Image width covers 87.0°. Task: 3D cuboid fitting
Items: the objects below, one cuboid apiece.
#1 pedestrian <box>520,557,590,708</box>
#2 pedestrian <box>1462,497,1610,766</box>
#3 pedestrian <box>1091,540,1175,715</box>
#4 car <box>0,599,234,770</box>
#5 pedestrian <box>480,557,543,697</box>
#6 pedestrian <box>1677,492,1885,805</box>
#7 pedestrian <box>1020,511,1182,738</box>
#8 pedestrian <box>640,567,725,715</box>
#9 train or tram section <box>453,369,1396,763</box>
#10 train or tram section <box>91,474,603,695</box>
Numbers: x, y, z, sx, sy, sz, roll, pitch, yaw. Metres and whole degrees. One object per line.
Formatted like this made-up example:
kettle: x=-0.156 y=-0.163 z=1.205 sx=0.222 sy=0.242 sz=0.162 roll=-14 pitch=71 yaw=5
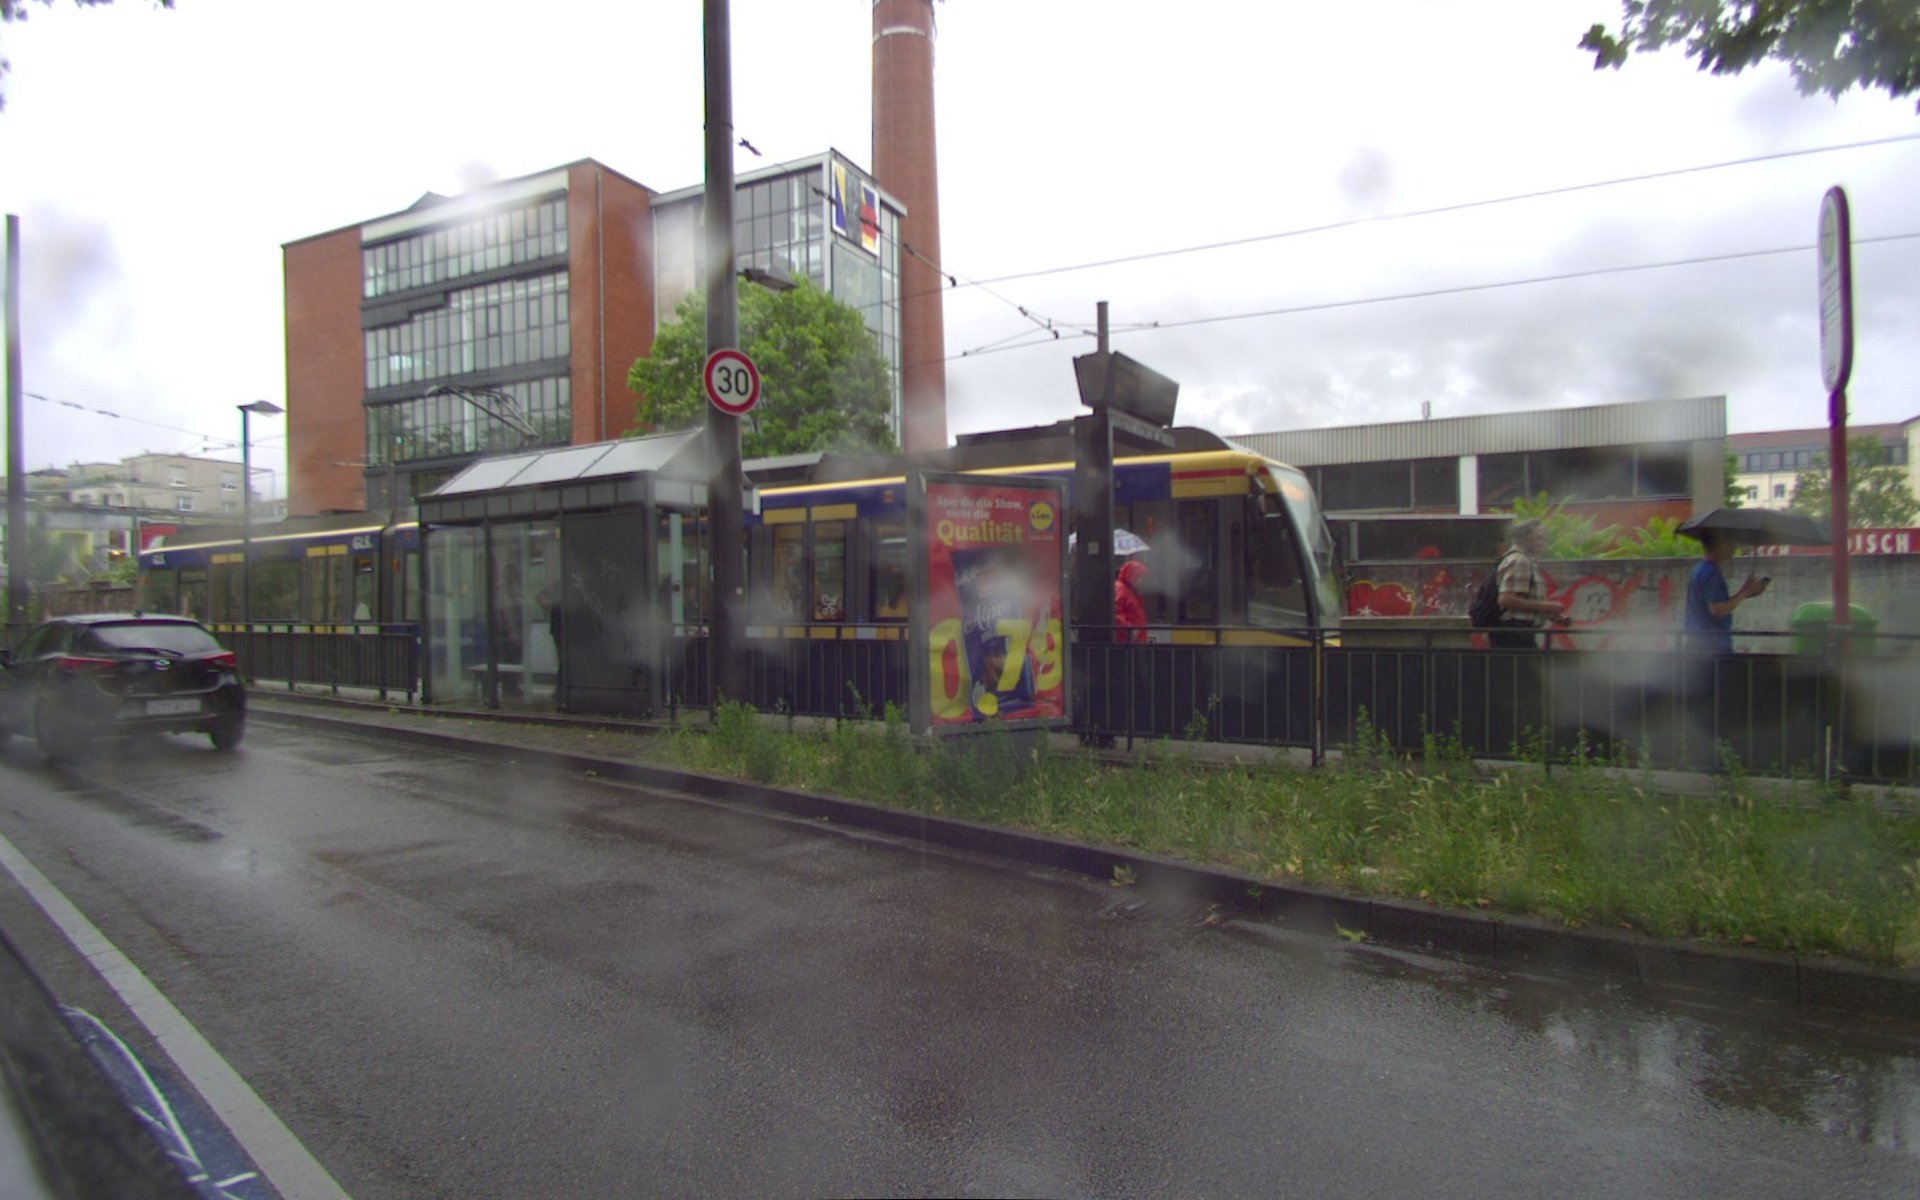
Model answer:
pedestrian: x=-4.916 y=0.379 z=12.274 sx=0.620 sy=1.762 sz=0.565 roll=-1 pitch=0 yaw=-41
pedestrian: x=4.072 y=0.211 z=7.211 sx=0.827 sy=1.768 sz=0.859 roll=-1 pitch=0 yaw=28
pedestrian: x=1.633 y=0.275 z=9.678 sx=0.651 sy=1.584 sz=0.797 roll=-2 pitch=-3 yaw=4
car: x=-10.031 y=0.840 z=11.636 sx=4.231 sy=1.603 sz=1.734 roll=-1 pitch=0 yaw=40
pedestrian: x=-5.819 y=0.336 z=13.134 sx=0.620 sy=1.762 sz=0.515 roll=-1 pitch=0 yaw=-41
pedestrian: x=5.353 y=0.297 z=6.677 sx=0.888 sy=1.878 sz=0.863 roll=-1 pitch=0 yaw=29
pedestrian: x=1.245 y=0.237 z=8.905 sx=1.072 sy=1.840 sz=0.975 roll=-4 pitch=-4 yaw=30
pedestrian: x=-3.127 y=0.469 z=11.444 sx=0.504 sy=1.610 sz=0.790 roll=-4 pitch=-4 yaw=30
train or tram section: x=-1.572 y=-0.210 z=13.958 sx=13.666 sy=3.572 sz=2.839 roll=-1 pitch=0 yaw=31
train or tram section: x=-13.880 y=-0.143 z=21.707 sx=15.323 sy=3.572 sz=2.838 roll=-1 pitch=0 yaw=32
